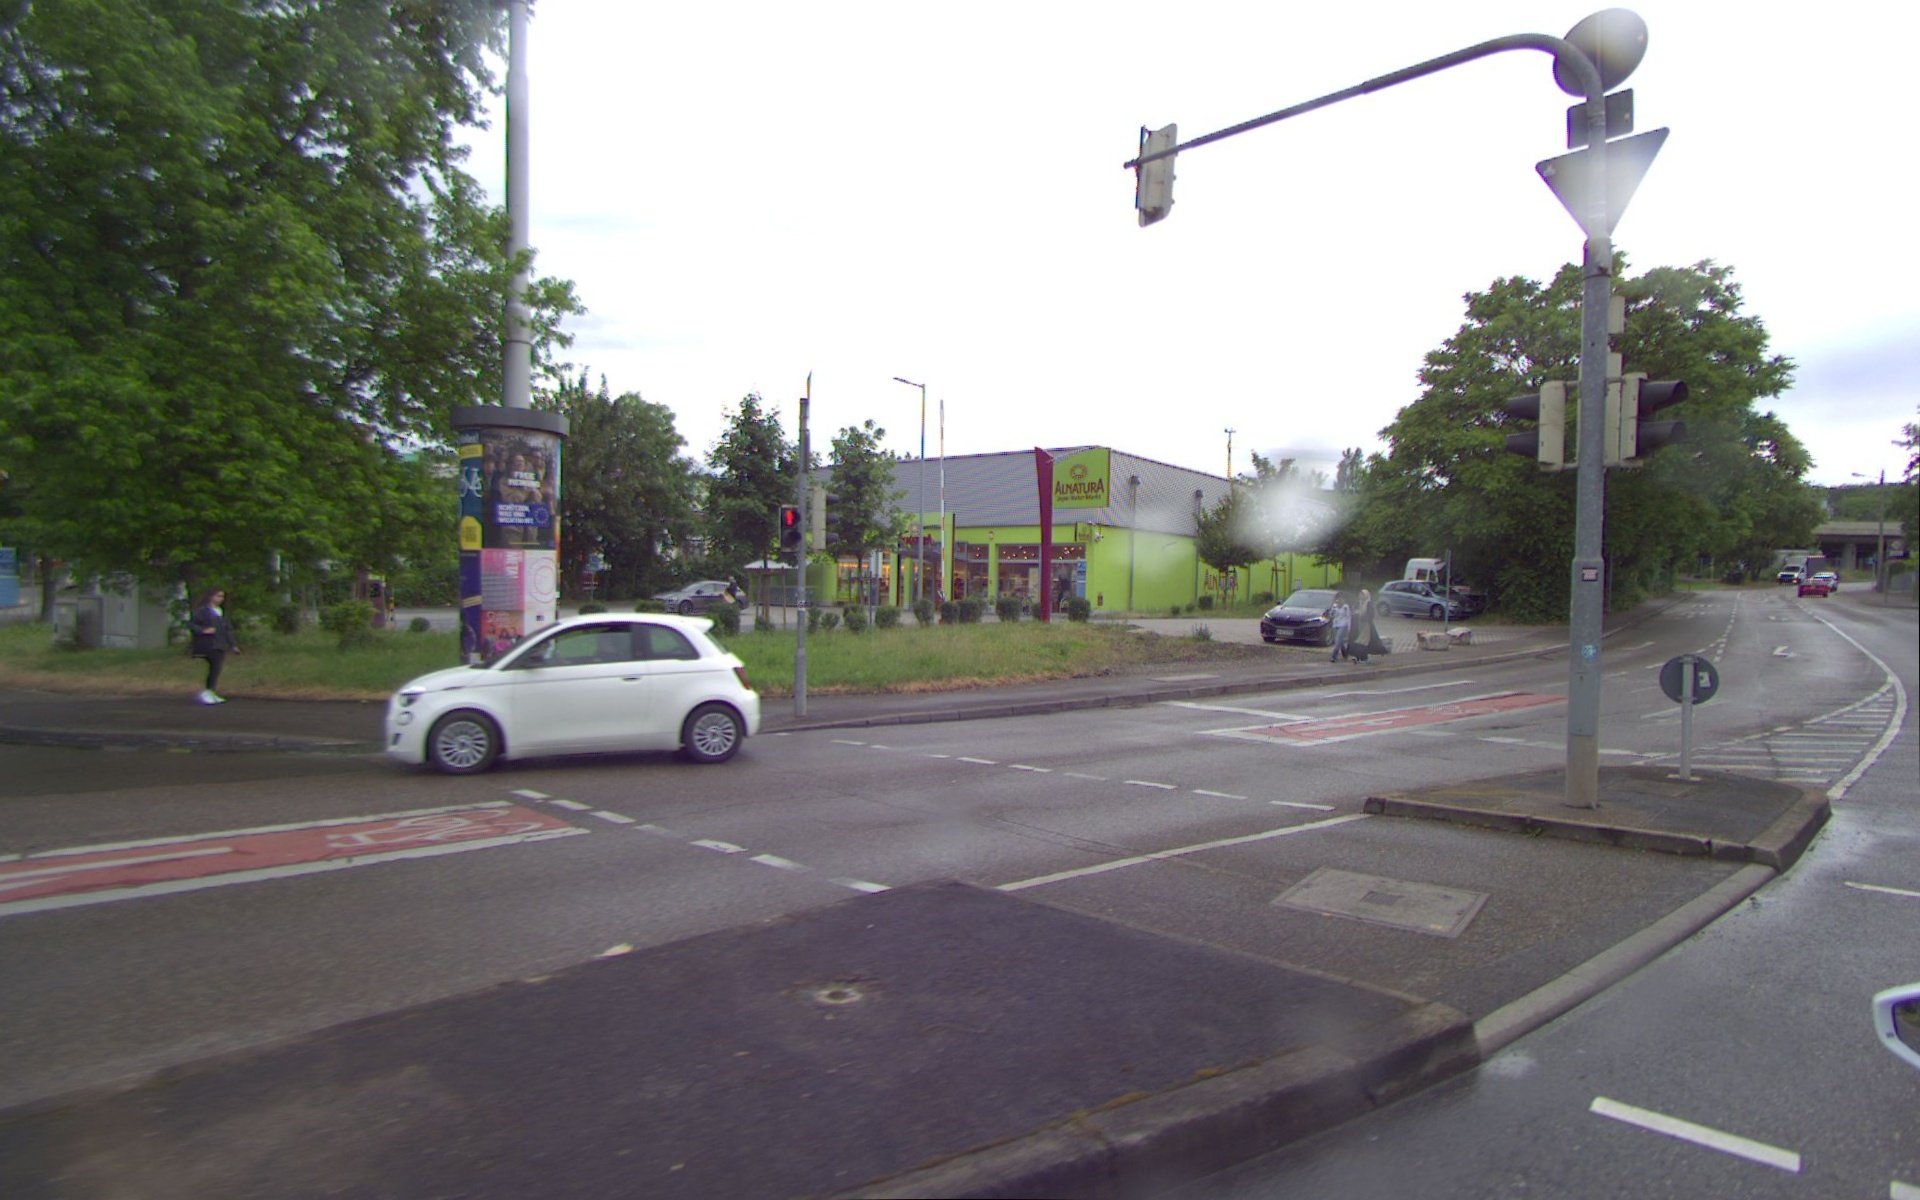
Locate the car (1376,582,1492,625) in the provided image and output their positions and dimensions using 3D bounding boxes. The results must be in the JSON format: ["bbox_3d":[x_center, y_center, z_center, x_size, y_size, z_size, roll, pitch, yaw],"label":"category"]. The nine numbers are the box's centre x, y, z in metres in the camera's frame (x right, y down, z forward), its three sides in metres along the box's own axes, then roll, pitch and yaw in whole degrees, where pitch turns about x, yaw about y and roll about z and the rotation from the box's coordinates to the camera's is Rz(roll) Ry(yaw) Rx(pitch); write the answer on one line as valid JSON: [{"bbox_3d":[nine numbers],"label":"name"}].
[{"bbox_3d":[19.854,0.097,42.224,1.973,1.564,4.100,-1,3,-25],"label":"car"}]

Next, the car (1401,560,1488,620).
[{"bbox_3d":[22.170,-0.554,46.274,2.070,2.567,5.607,1,3,10],"label":"car"}]

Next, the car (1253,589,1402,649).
[{"bbox_3d":[10.157,0.481,27.683,4.192,1.468,1.735,0,3,-35],"label":"car"}]

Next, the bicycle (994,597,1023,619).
[{"bbox_3d":[2.278,0.374,47.378,0.526,0.995,1.608,0,1,38],"label":"bicycle"}]

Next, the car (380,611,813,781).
[{"bbox_3d":[-3.684,0.892,10.509,3.945,1.502,1.682,1,-1,-25],"label":"car"}]

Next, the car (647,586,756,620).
[{"bbox_3d":[-10.942,0.090,42.789,1.748,1.363,4.358,1,1,39],"label":"car"}]

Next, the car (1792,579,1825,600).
[{"bbox_3d":[67.022,-0.840,79.362,1.814,1.554,4.184,2,3,39],"label":"car"}]

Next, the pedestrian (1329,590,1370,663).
[{"bbox_3d":[9.070,0.603,23.395,0.671,1.624,0.600,-2,4,-37],"label":"pedestrian"}]

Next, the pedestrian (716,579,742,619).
[{"bbox_3d":[-9.634,-0.044,41.961,0.798,1.619,0.749,-2,4,-43],"label":"pedestrian"}]

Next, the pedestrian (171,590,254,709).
[{"bbox_3d":[-10.182,0.658,13.695,0.655,1.553,0.593,1,3,11],"label":"pedestrian"}]

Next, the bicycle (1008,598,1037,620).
[{"bbox_3d":[2.909,0.407,46.802,0.526,0.995,1.608,0,1,38],"label":"bicycle"}]

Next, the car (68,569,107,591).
[{"bbox_3d":[-61.332,-1.402,70.563,4.020,1.435,1.765,3,4,45],"label":"car"}]

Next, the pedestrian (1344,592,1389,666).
[{"bbox_3d":[9.189,0.640,22.719,0.671,1.624,0.651,-2,4,-37],"label":"pedestrian"}]

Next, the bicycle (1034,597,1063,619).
[{"bbox_3d":[4.055,0.344,46.031,0.526,0.995,1.608,0,1,38],"label":"bicycle"}]

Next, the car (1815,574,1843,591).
[{"bbox_3d":[81.709,-1.667,94.465,1.747,1.531,3.731,2,3,44],"label":"car"}]

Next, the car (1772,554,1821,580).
[{"bbox_3d":[100.909,-3.927,121.159,7.131,3.059,2.519,-1,3,-33],"label":"car"}]

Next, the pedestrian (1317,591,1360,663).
[{"bbox_3d":[8.887,0.615,23.605,0.671,1.624,0.651,-2,4,-37],"label":"pedestrian"}]
